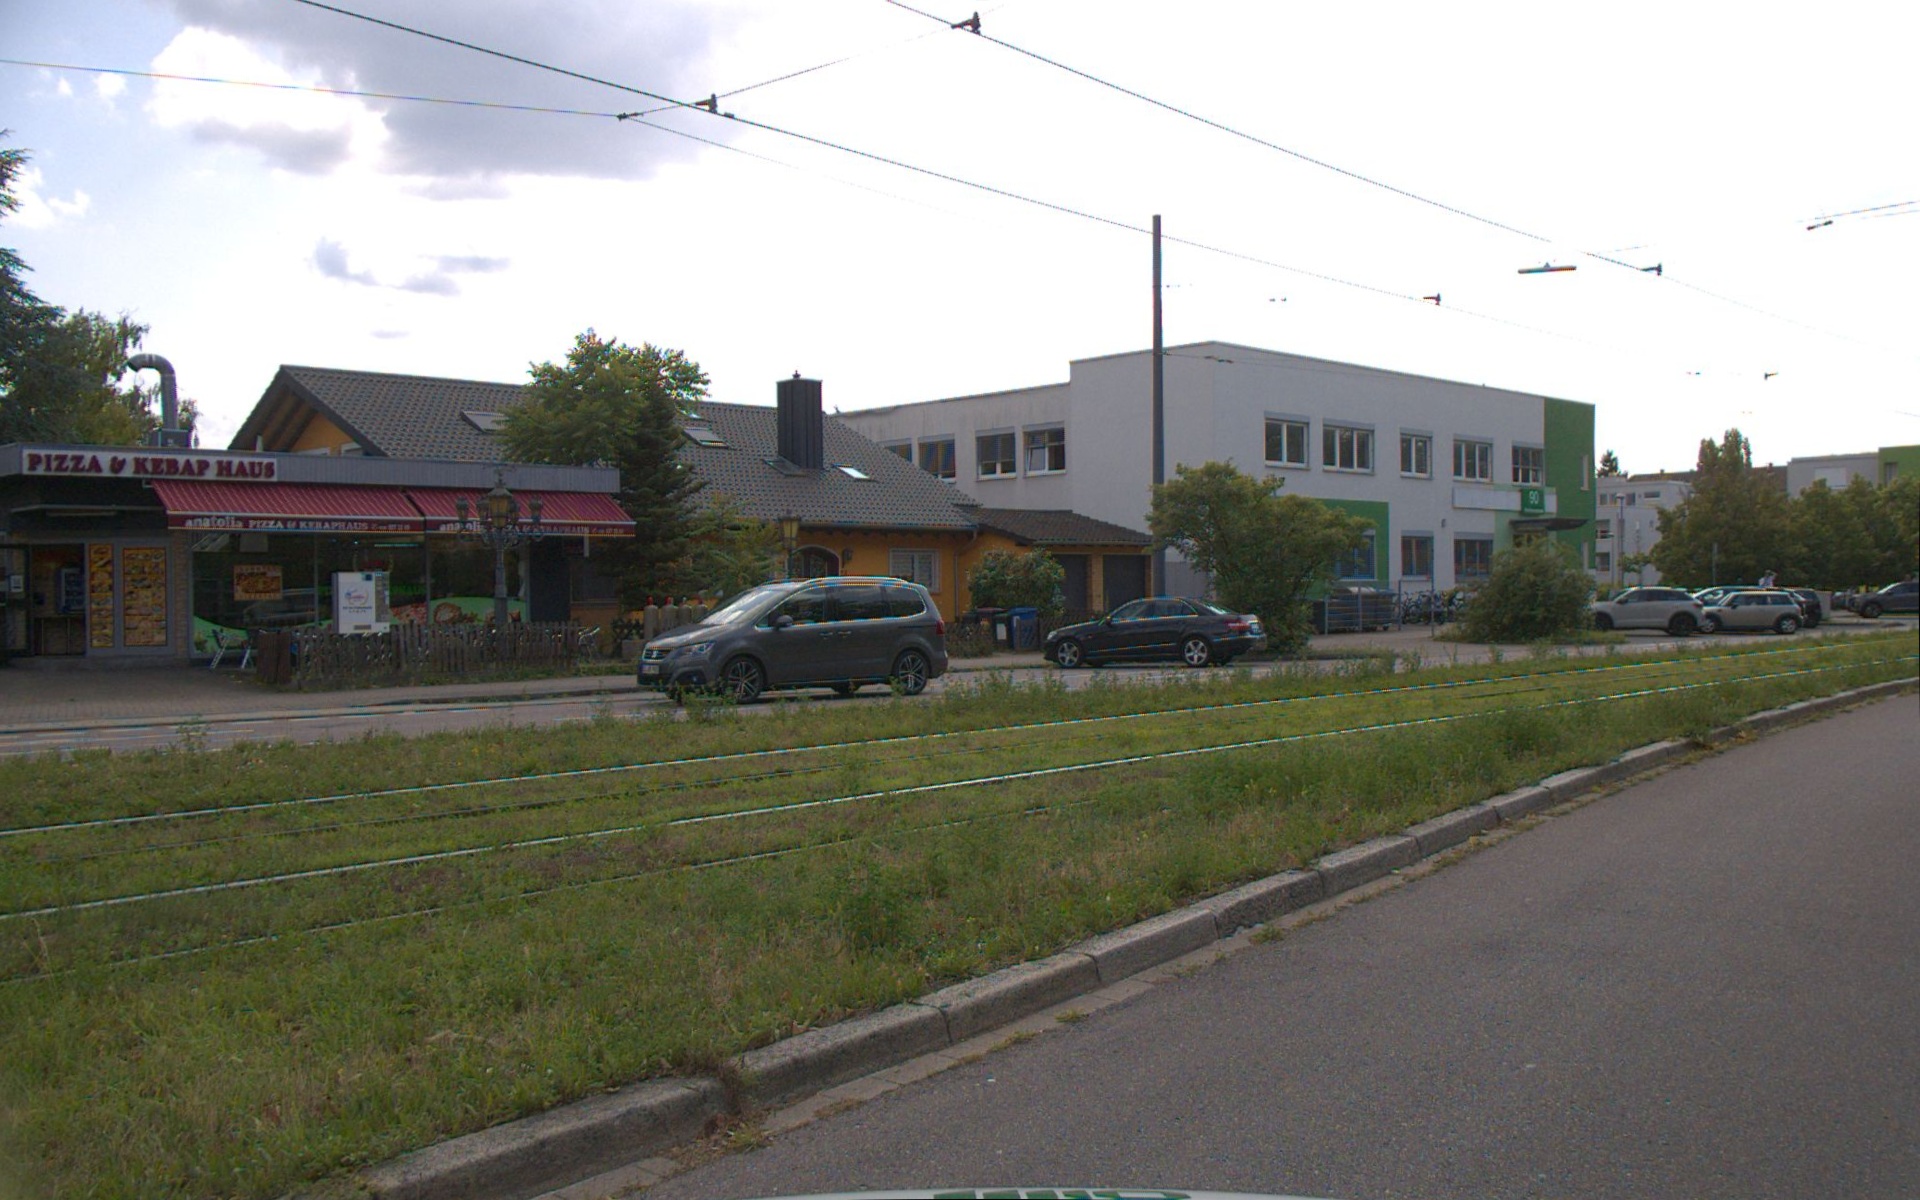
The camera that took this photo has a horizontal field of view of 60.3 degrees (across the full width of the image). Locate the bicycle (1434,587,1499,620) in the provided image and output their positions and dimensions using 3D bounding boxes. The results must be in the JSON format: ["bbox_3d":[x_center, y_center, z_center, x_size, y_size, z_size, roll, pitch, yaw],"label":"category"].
[{"bbox_3d":[19.060,0.131,62.271,0.740,1.186,2.386,-1,0,-37],"label":"bicycle"}]

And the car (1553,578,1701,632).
[{"bbox_3d":[21.835,0.161,54.286,4.209,1.657,1.904,-1,0,13],"label":"car"}]

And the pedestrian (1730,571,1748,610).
[{"bbox_3d":[34.739,-0.434,73.759,0.586,1.704,0.539,-1,0,37],"label":"pedestrian"}]

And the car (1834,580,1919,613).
[{"bbox_3d":[40.904,-0.169,72.663,4.213,1.387,1.902,-1,0,22],"label":"car"}]

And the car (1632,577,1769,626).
[{"bbox_3d":[26.127,0.042,58.515,4.210,1.657,1.903,0,0,18],"label":"car"}]

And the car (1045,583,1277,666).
[{"bbox_3d":[4.262,0.529,35.096,4.475,1.608,1.998,-2,0,26],"label":"car"}]

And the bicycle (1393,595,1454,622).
[{"bbox_3d":[17.168,0.316,61.305,0.724,0.987,2.128,-1,0,-40],"label":"bicycle"}]

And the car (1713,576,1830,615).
[{"bbox_3d":[32.064,-0.186,65.481,4.073,1.530,1.860,0,0,24],"label":"car"}]

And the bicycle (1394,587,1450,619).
[{"bbox_3d":[16.361,0.096,58.550,1.766,1.100,0.732,-1,0,44],"label":"bicycle"}]

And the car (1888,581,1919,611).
[{"bbox_3d":[47.644,-0.219,80.383,4.214,1.387,1.901,-1,0,24],"label":"car"}]

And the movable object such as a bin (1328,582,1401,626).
[{"bbox_3d":[13.099,0.122,53.537,2.113,1.350,1.356,-1,0,-41],"label":"movable object such as a bin"}]

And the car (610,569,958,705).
[{"bbox_3d":[-2.460,0.464,23.833,4.694,1.752,1.972,-1,0,-39],"label":"car"}]

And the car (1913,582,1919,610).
[{"bbox_3d":[50.127,-0.227,82.556,4.214,1.387,1.901,-1,0,24],"label":"car"}]

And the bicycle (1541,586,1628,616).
[{"bbox_3d":[24.939,0.050,66.090,3.088,1.186,1.135,-1,0,42],"label":"bicycle"}]

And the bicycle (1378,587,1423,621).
[{"bbox_3d":[16.043,0.148,60.276,0.695,1.186,1.606,-1,0,-27],"label":"bicycle"}]

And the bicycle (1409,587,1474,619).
[{"bbox_3d":[17.962,0.117,61.780,0.753,1.186,2.319,-1,0,-38],"label":"bicycle"}]

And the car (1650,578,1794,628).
[{"bbox_3d":[25.702,0.097,55.914,4.210,1.657,1.903,0,0,18],"label":"car"}]

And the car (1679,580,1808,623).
[{"bbox_3d":[28.562,0.061,60.422,4.069,1.530,1.861,0,0,18],"label":"car"}]

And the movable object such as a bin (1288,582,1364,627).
[{"bbox_3d":[11.520,0.127,52.045,2.098,1.350,1.356,-1,0,-41],"label":"movable object such as a bin"}]
